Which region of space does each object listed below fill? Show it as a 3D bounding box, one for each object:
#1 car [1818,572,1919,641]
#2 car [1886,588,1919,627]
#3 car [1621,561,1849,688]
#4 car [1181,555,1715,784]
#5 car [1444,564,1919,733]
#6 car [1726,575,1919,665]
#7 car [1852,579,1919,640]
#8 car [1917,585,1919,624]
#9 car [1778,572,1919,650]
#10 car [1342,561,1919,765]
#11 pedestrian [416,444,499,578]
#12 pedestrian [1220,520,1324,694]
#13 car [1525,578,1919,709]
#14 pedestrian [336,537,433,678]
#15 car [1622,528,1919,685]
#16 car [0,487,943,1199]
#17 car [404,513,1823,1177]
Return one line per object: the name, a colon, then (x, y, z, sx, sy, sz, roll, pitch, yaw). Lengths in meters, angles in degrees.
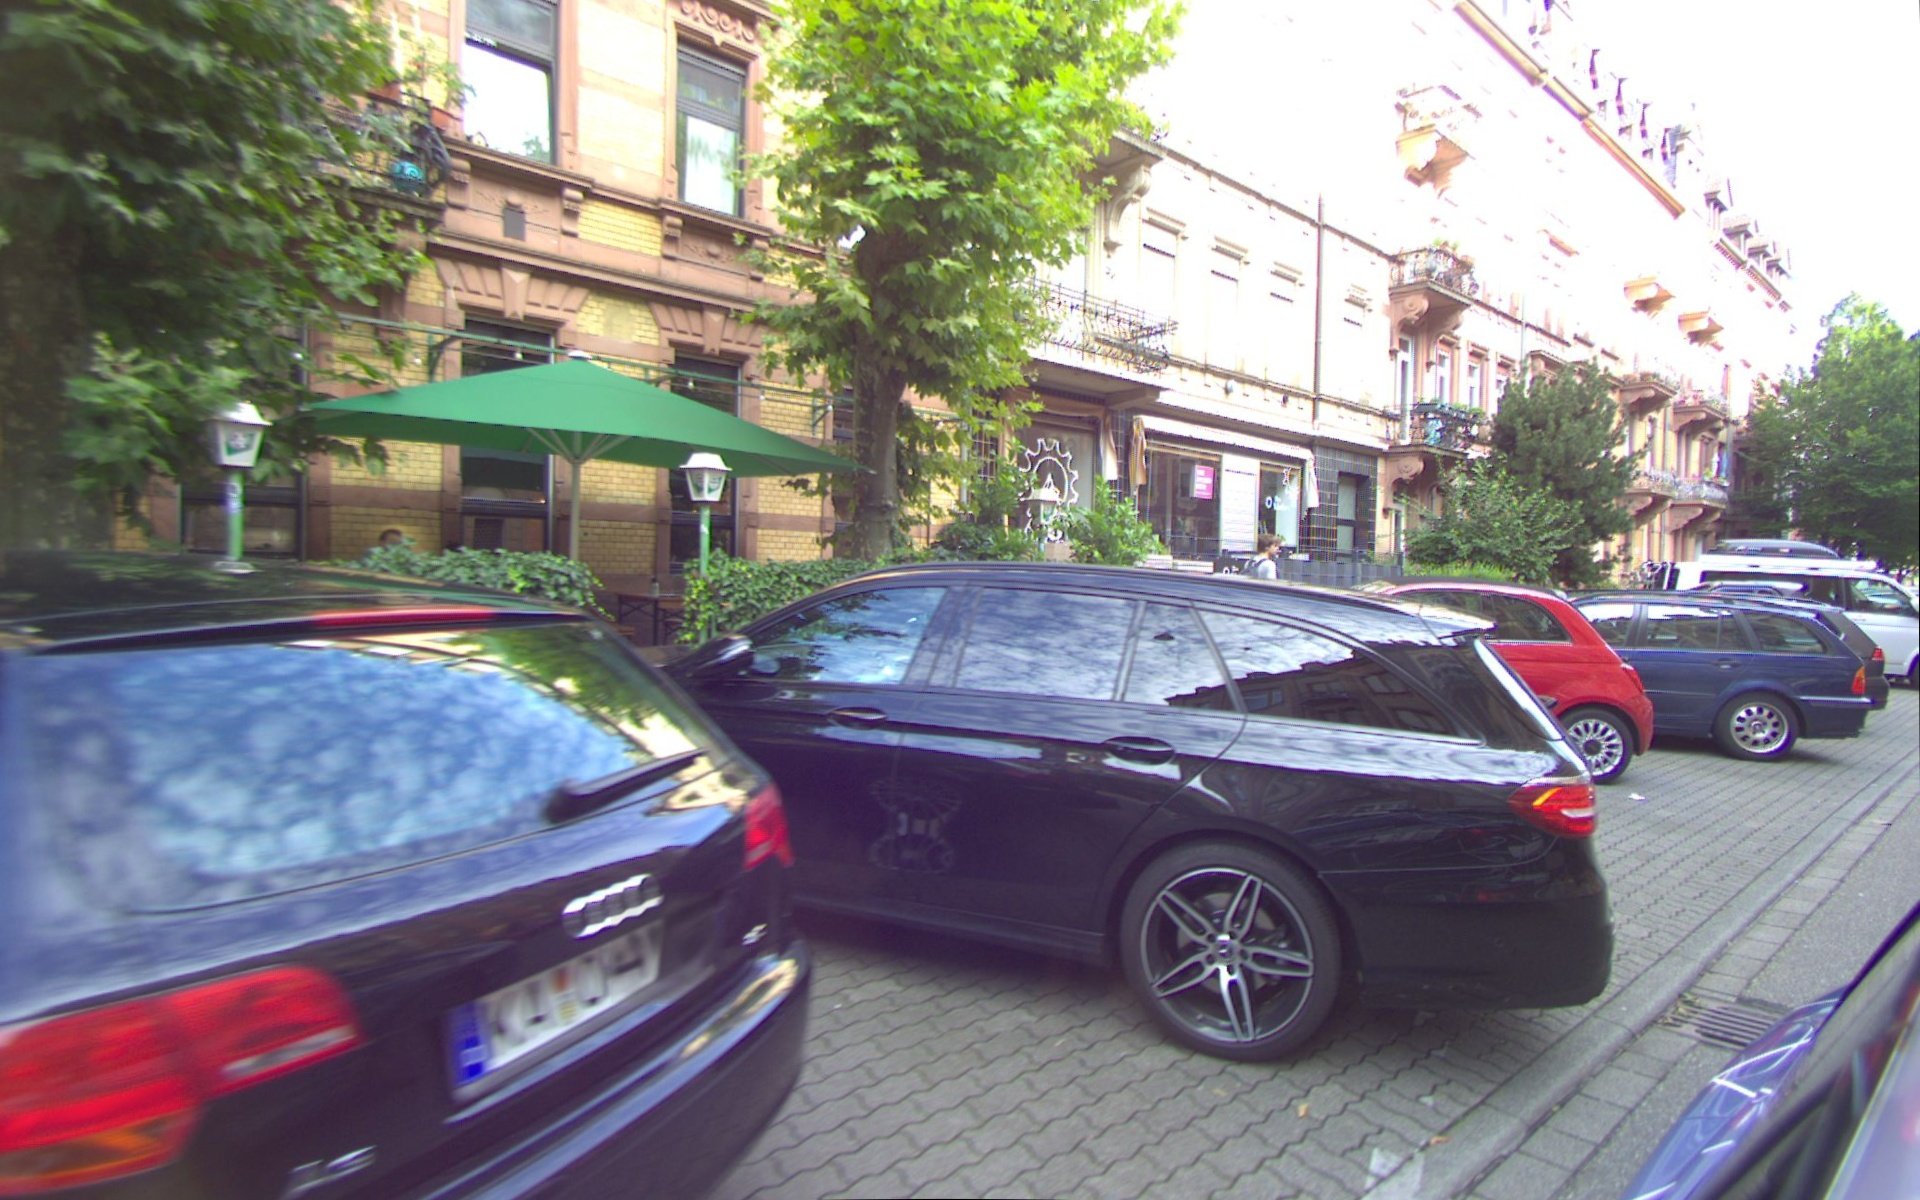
car: (27.732, 0.225, 28.989, 4.346, 1.844, 1.746, 3, 3, 18)
car: (39.502, 0.395, 39.467, 4.551, 1.469, 1.783, 3, 2, 18)
car: (12.033, 0.333, 15.875, 2.442, 1.687, 1.336, 5, 2, 23)
car: (3.793, 0.468, 8.549, 3.662, 1.503, 1.736, 3, 2, 12)
car: (8.387, 0.482, 11.911, 4.398, 1.495, 1.884, 4, 2, 10)
car: (18.997, 0.392, 21.051, 4.393, 1.754, 1.991, 1, 0, 15)
car: (29.851, 0.348, 30.510, 3.949, 1.762, 1.829, 3, 2, 19)
car: (44.176, 0.291, 43.494, 3.942, 1.720, 1.844, 2, 1, 15)
car: (24.366, 0.354, 26.195, 1.778, 1.806, 4.647, 3, 2, -41)
car: (6.268, 0.496, 9.999, 4.406, 1.482, 1.871, 4, 2, 15)
pedestrian: (-4.821, -0.846, 9.711, 0.465, 1.234, 0.555, 5, 4, 40)
pedestrian: (3.578, 0.063, 11.639, 0.709, 1.901, 0.842, 1, 1, -36)
car: (10.247, 0.525, 13.872, 3.928, 1.477, 1.747, 3, 2, 8)
pedestrian: (-5.312, 0.057, 9.342, 0.487, 1.234, 0.640, 5, 4, 41)
car: (14.704, 0.070, 17.421, 5.089, 2.434, 1.908, 2, 2, 17)
car: (-2.420, 0.566, 2.453, 4.370, 1.475, 1.926, 2, 1, 25)
car: (0.241, 0.519, 4.311, 4.714, 1.475, 2.042, 4, 2, 22)
